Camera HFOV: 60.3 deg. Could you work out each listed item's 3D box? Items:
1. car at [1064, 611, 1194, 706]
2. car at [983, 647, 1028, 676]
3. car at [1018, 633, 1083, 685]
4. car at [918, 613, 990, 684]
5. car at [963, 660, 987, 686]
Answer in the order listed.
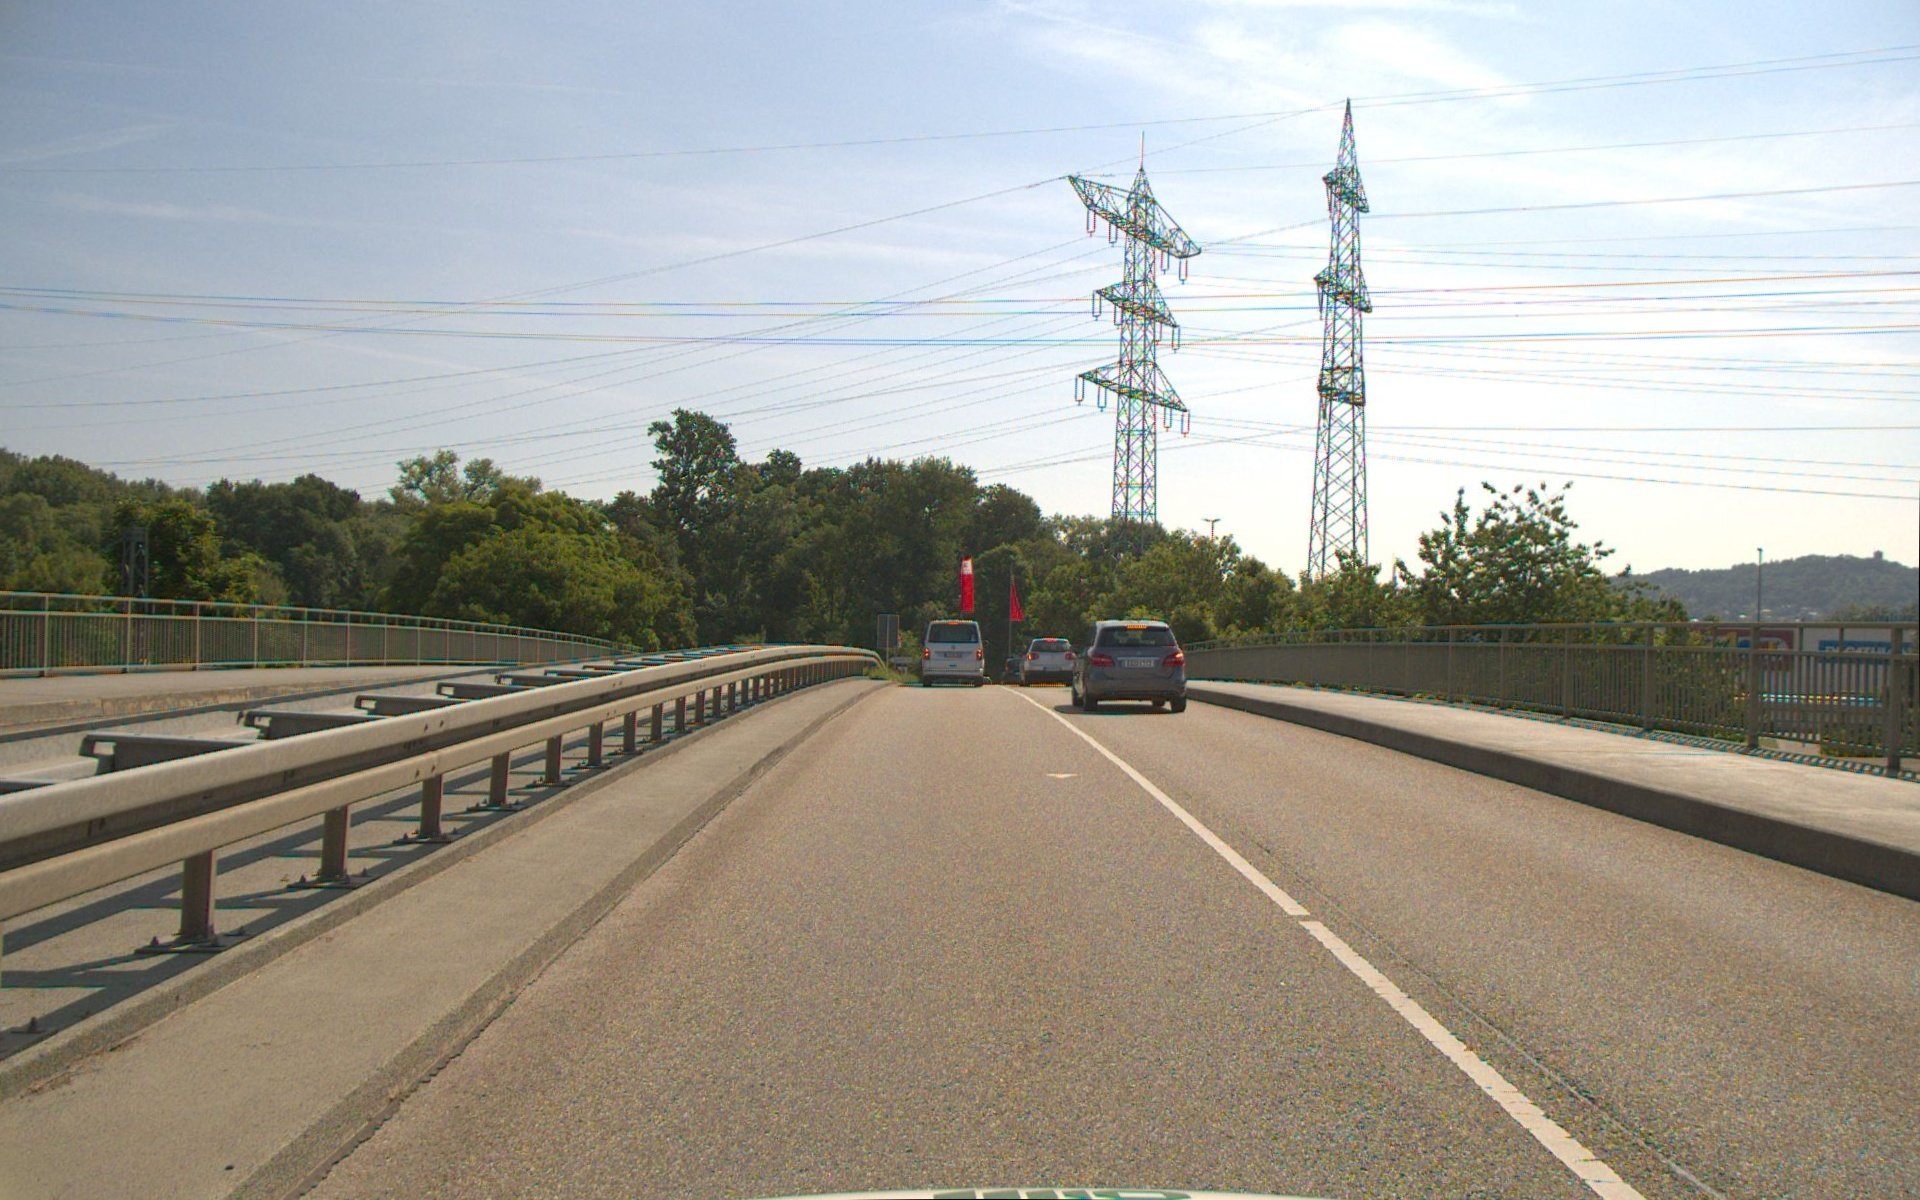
[{"bbox_3d":[2.942,1.038,29.543,1.818,1.556,4.142,0,-2,-1],"label":"car"},{"bbox_3d":[2.244,2.998,80.641,1.735,1.355,3.743,-1,-3,9],"label":"car"},{"bbox_3d":[2.816,1.891,52.224,1.818,1.556,4.143,0,-3,0],"label":"car"},{"bbox_3d":[-0.135,1.455,50.755,1.997,2.049,4.001,1,-1,2],"label":"car"},{"bbox_3d":[0.957,4.807,109.276,1.518,1.580,3.554,1,-1,-1],"label":"car"}]
